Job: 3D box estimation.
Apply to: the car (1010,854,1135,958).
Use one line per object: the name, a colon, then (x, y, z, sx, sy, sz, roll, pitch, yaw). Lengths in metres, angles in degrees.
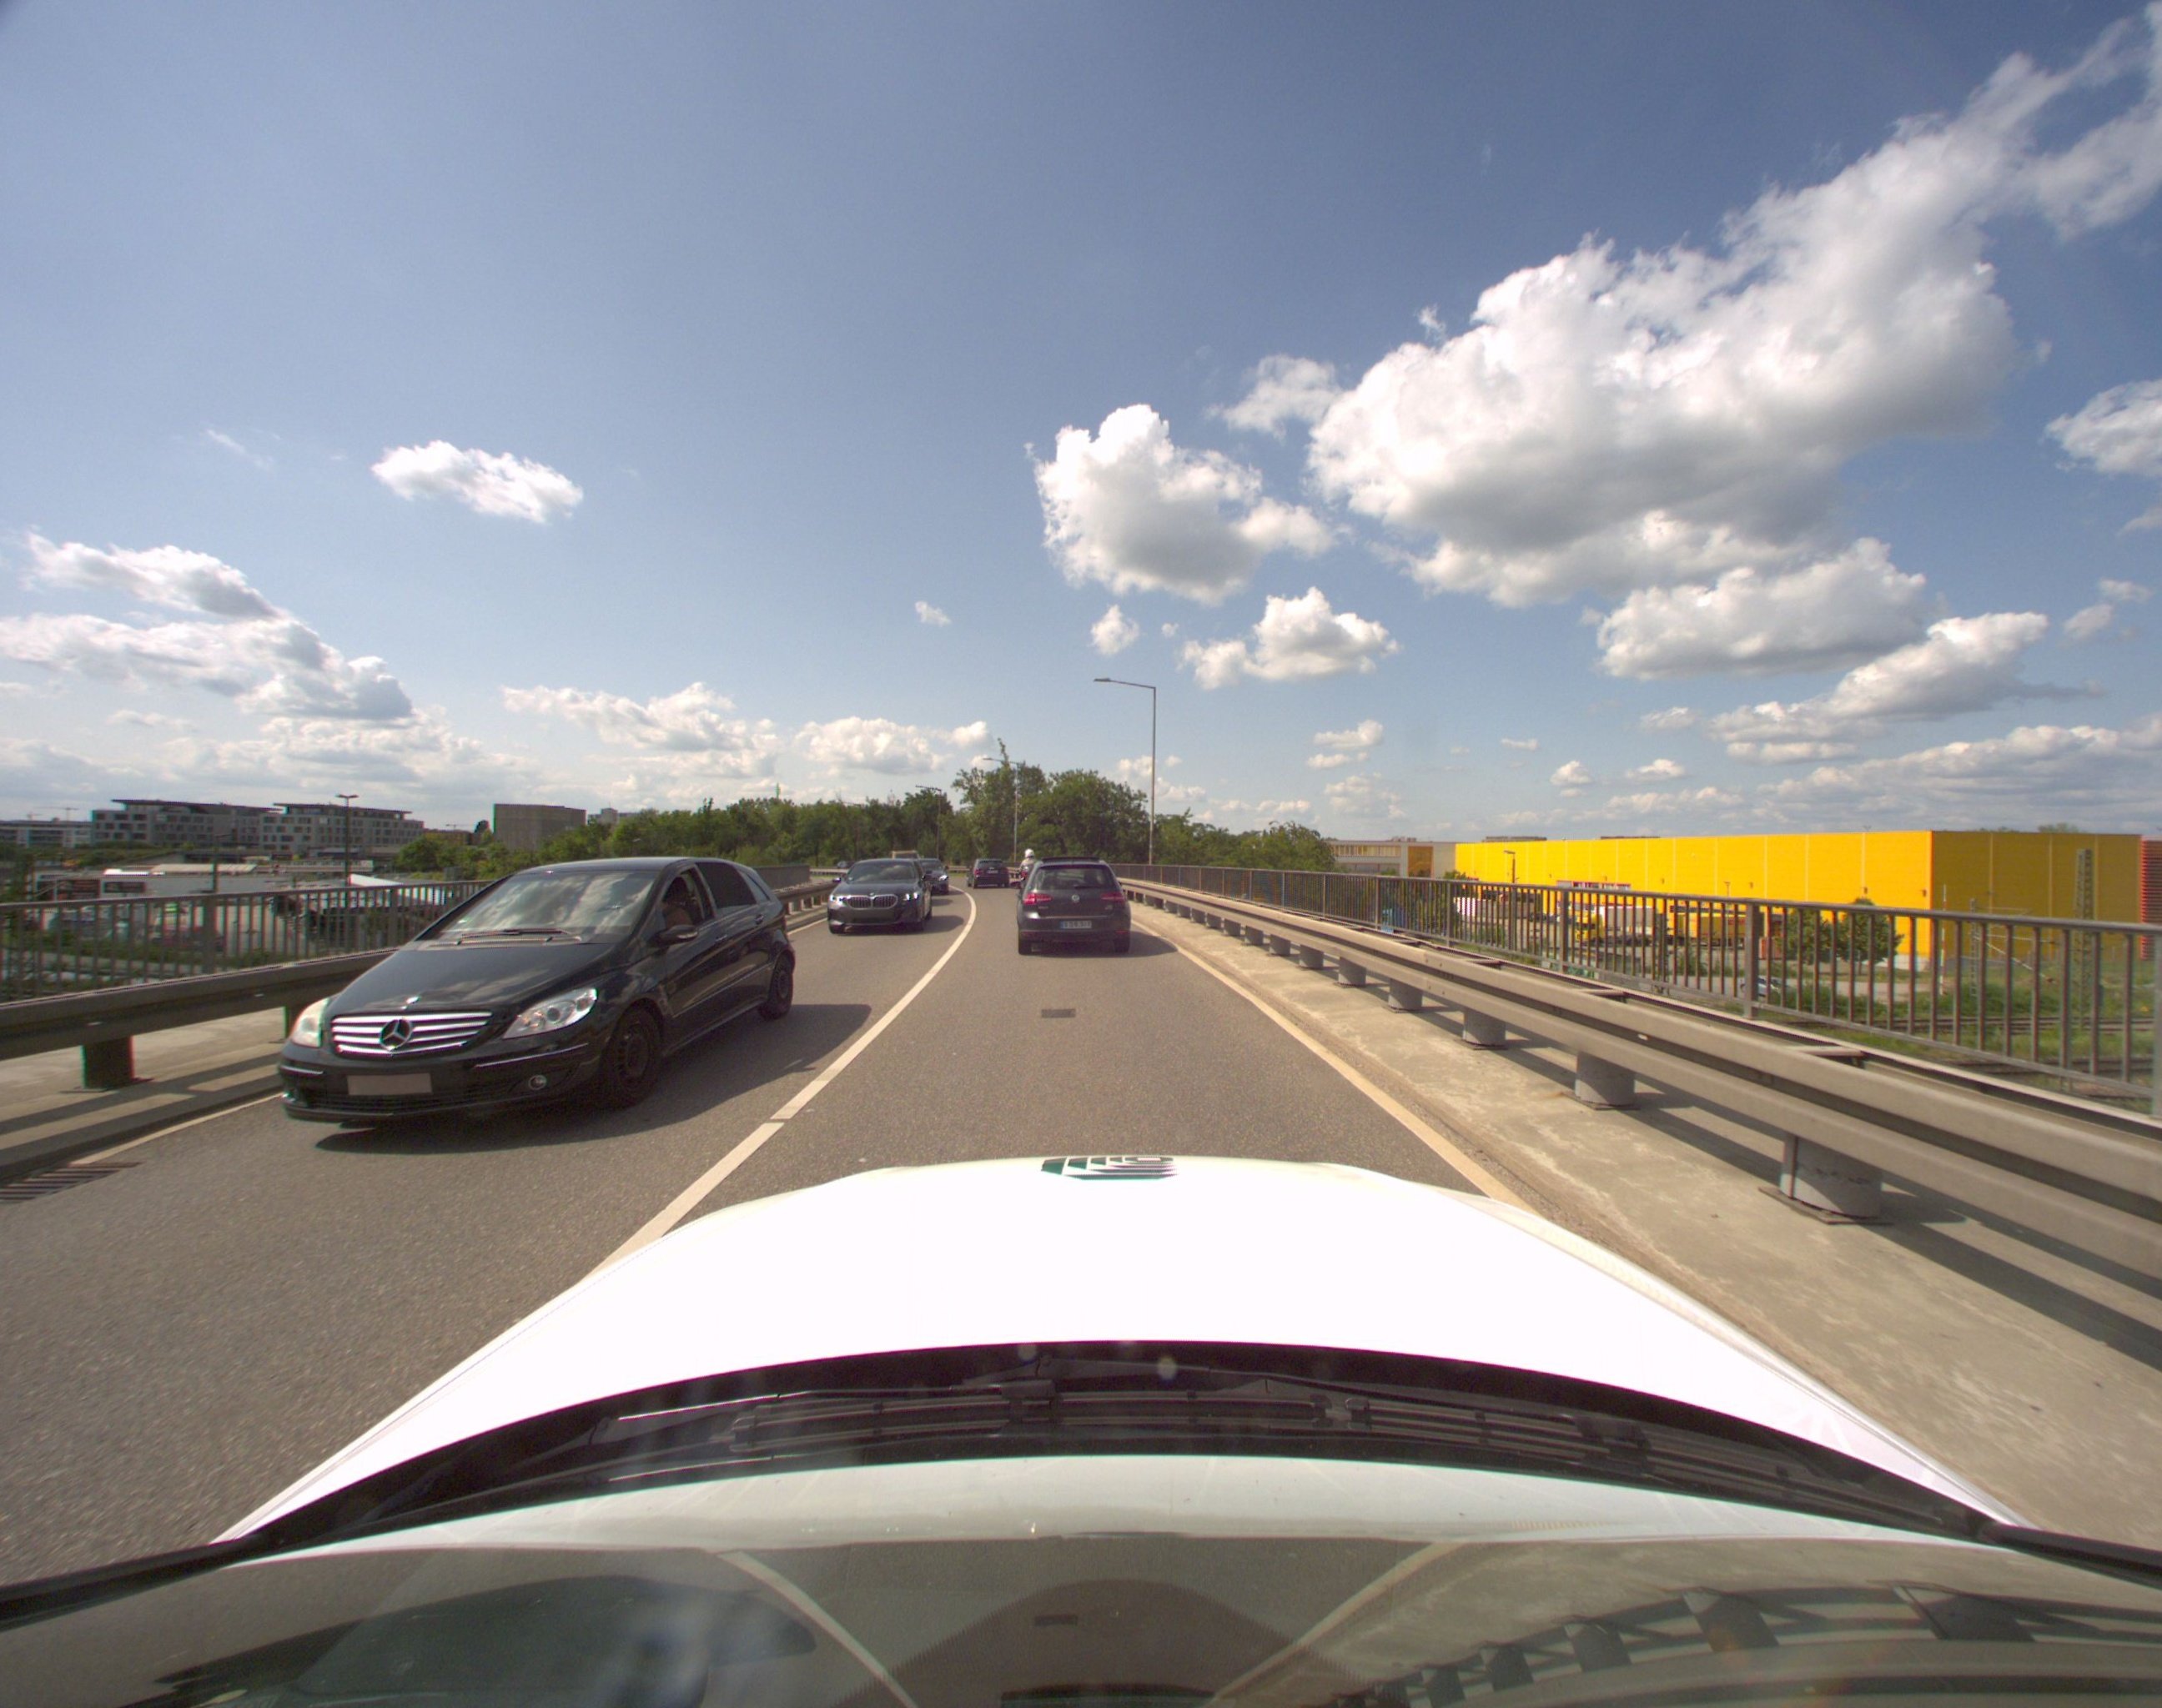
car: (-0.283, 0.763, 13.715, 1.641, 1.479, 3.862, -1, 0, -7)

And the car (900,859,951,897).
car: (-6.435, 0.928, 33.467, 1.878, 1.401, 3.869, -2, 0, -13)

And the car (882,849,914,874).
car: (-11.554, 0.474, 51.414, 1.878, 1.401, 3.869, -2, 0, -13)

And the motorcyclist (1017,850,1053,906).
motorcyclist: (-1.385, 0.693, 24.258, 0.965, 1.620, 1.121, 0, 0, -9)

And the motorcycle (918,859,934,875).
motorcycle: (-11.956, 0.989, 62.774, 0.890, 1.247, 2.384, -1, 0, -19)

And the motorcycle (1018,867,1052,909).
motorcycle: (-1.384, 0.969, 24.237, 0.788, 1.132, 2.392, -1, 0, -8)

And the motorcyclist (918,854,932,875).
motorcyclist: (-12.050, 0.818, 62.955, 0.969, 1.596, 1.118, 0, 0, -19)

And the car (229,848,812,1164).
car: (-3.667, 0.799, 6.456, 1.679, 1.596, 4.280, -2, 0, -2)

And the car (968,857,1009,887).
car: (-4.511, 0.874, 39.380, 1.682, 1.388, 3.725, -1, -1, -11)

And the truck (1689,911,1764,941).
truck: (76.662, 8.526, 96.824, 6.987, 3.189, 2.574, 2, -2, -2)

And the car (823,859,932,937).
car: (-4.311, 0.864, 17.843, 1.876, 1.442, 3.875, -2, 0, -8)

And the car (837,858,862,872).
car: (-25.265, 1.203, 88.799, 1.825, 1.487, 3.962, -2, 0, -29)

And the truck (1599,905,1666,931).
truck: (75.954, 8.786, 112.245, 7.623, 3.189, 2.687, 2, -2, -2)
